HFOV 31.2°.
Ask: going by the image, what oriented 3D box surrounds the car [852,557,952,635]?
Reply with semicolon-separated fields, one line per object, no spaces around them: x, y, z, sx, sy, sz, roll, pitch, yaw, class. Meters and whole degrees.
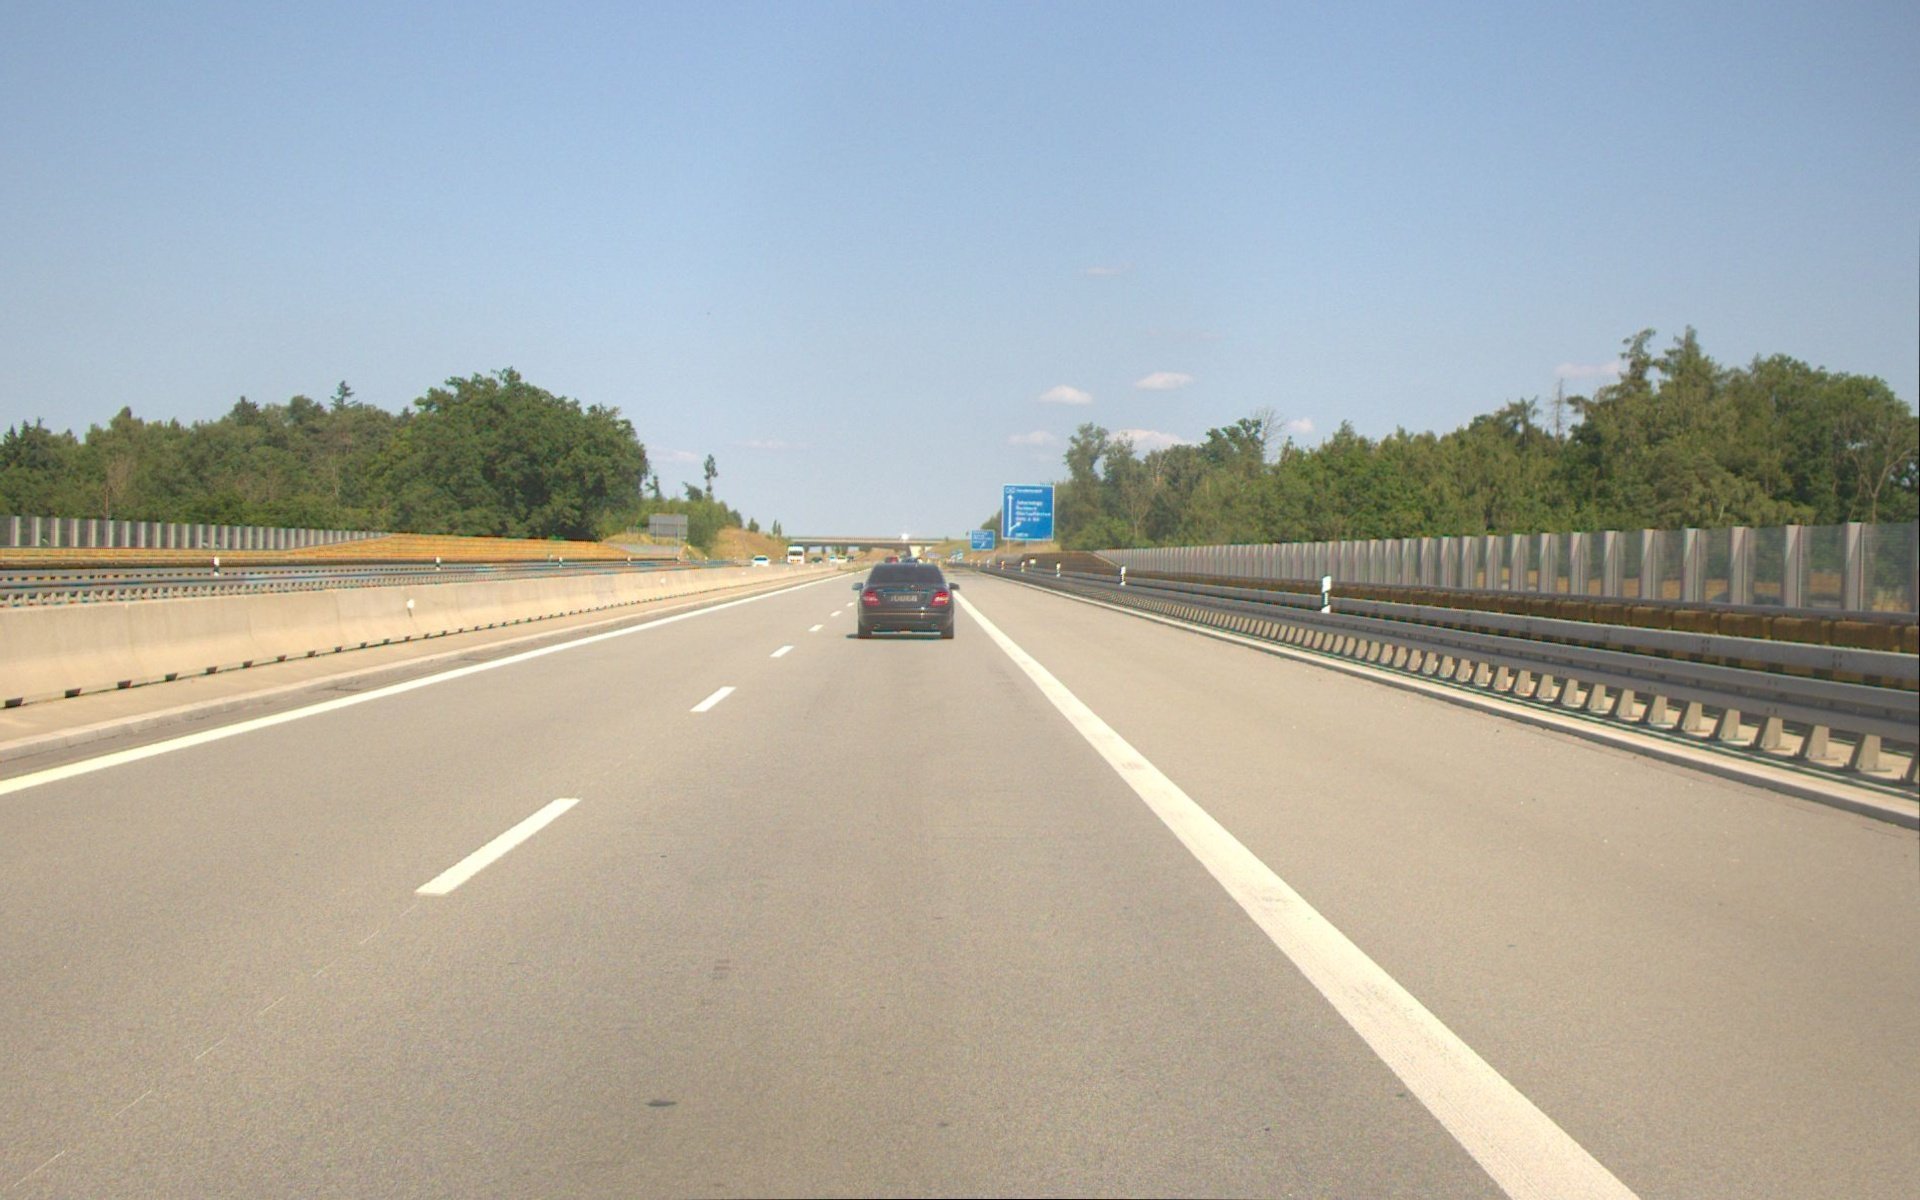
-1.049;-0.096;63.463;1.790;1.369;3.917;0;1;0;car
